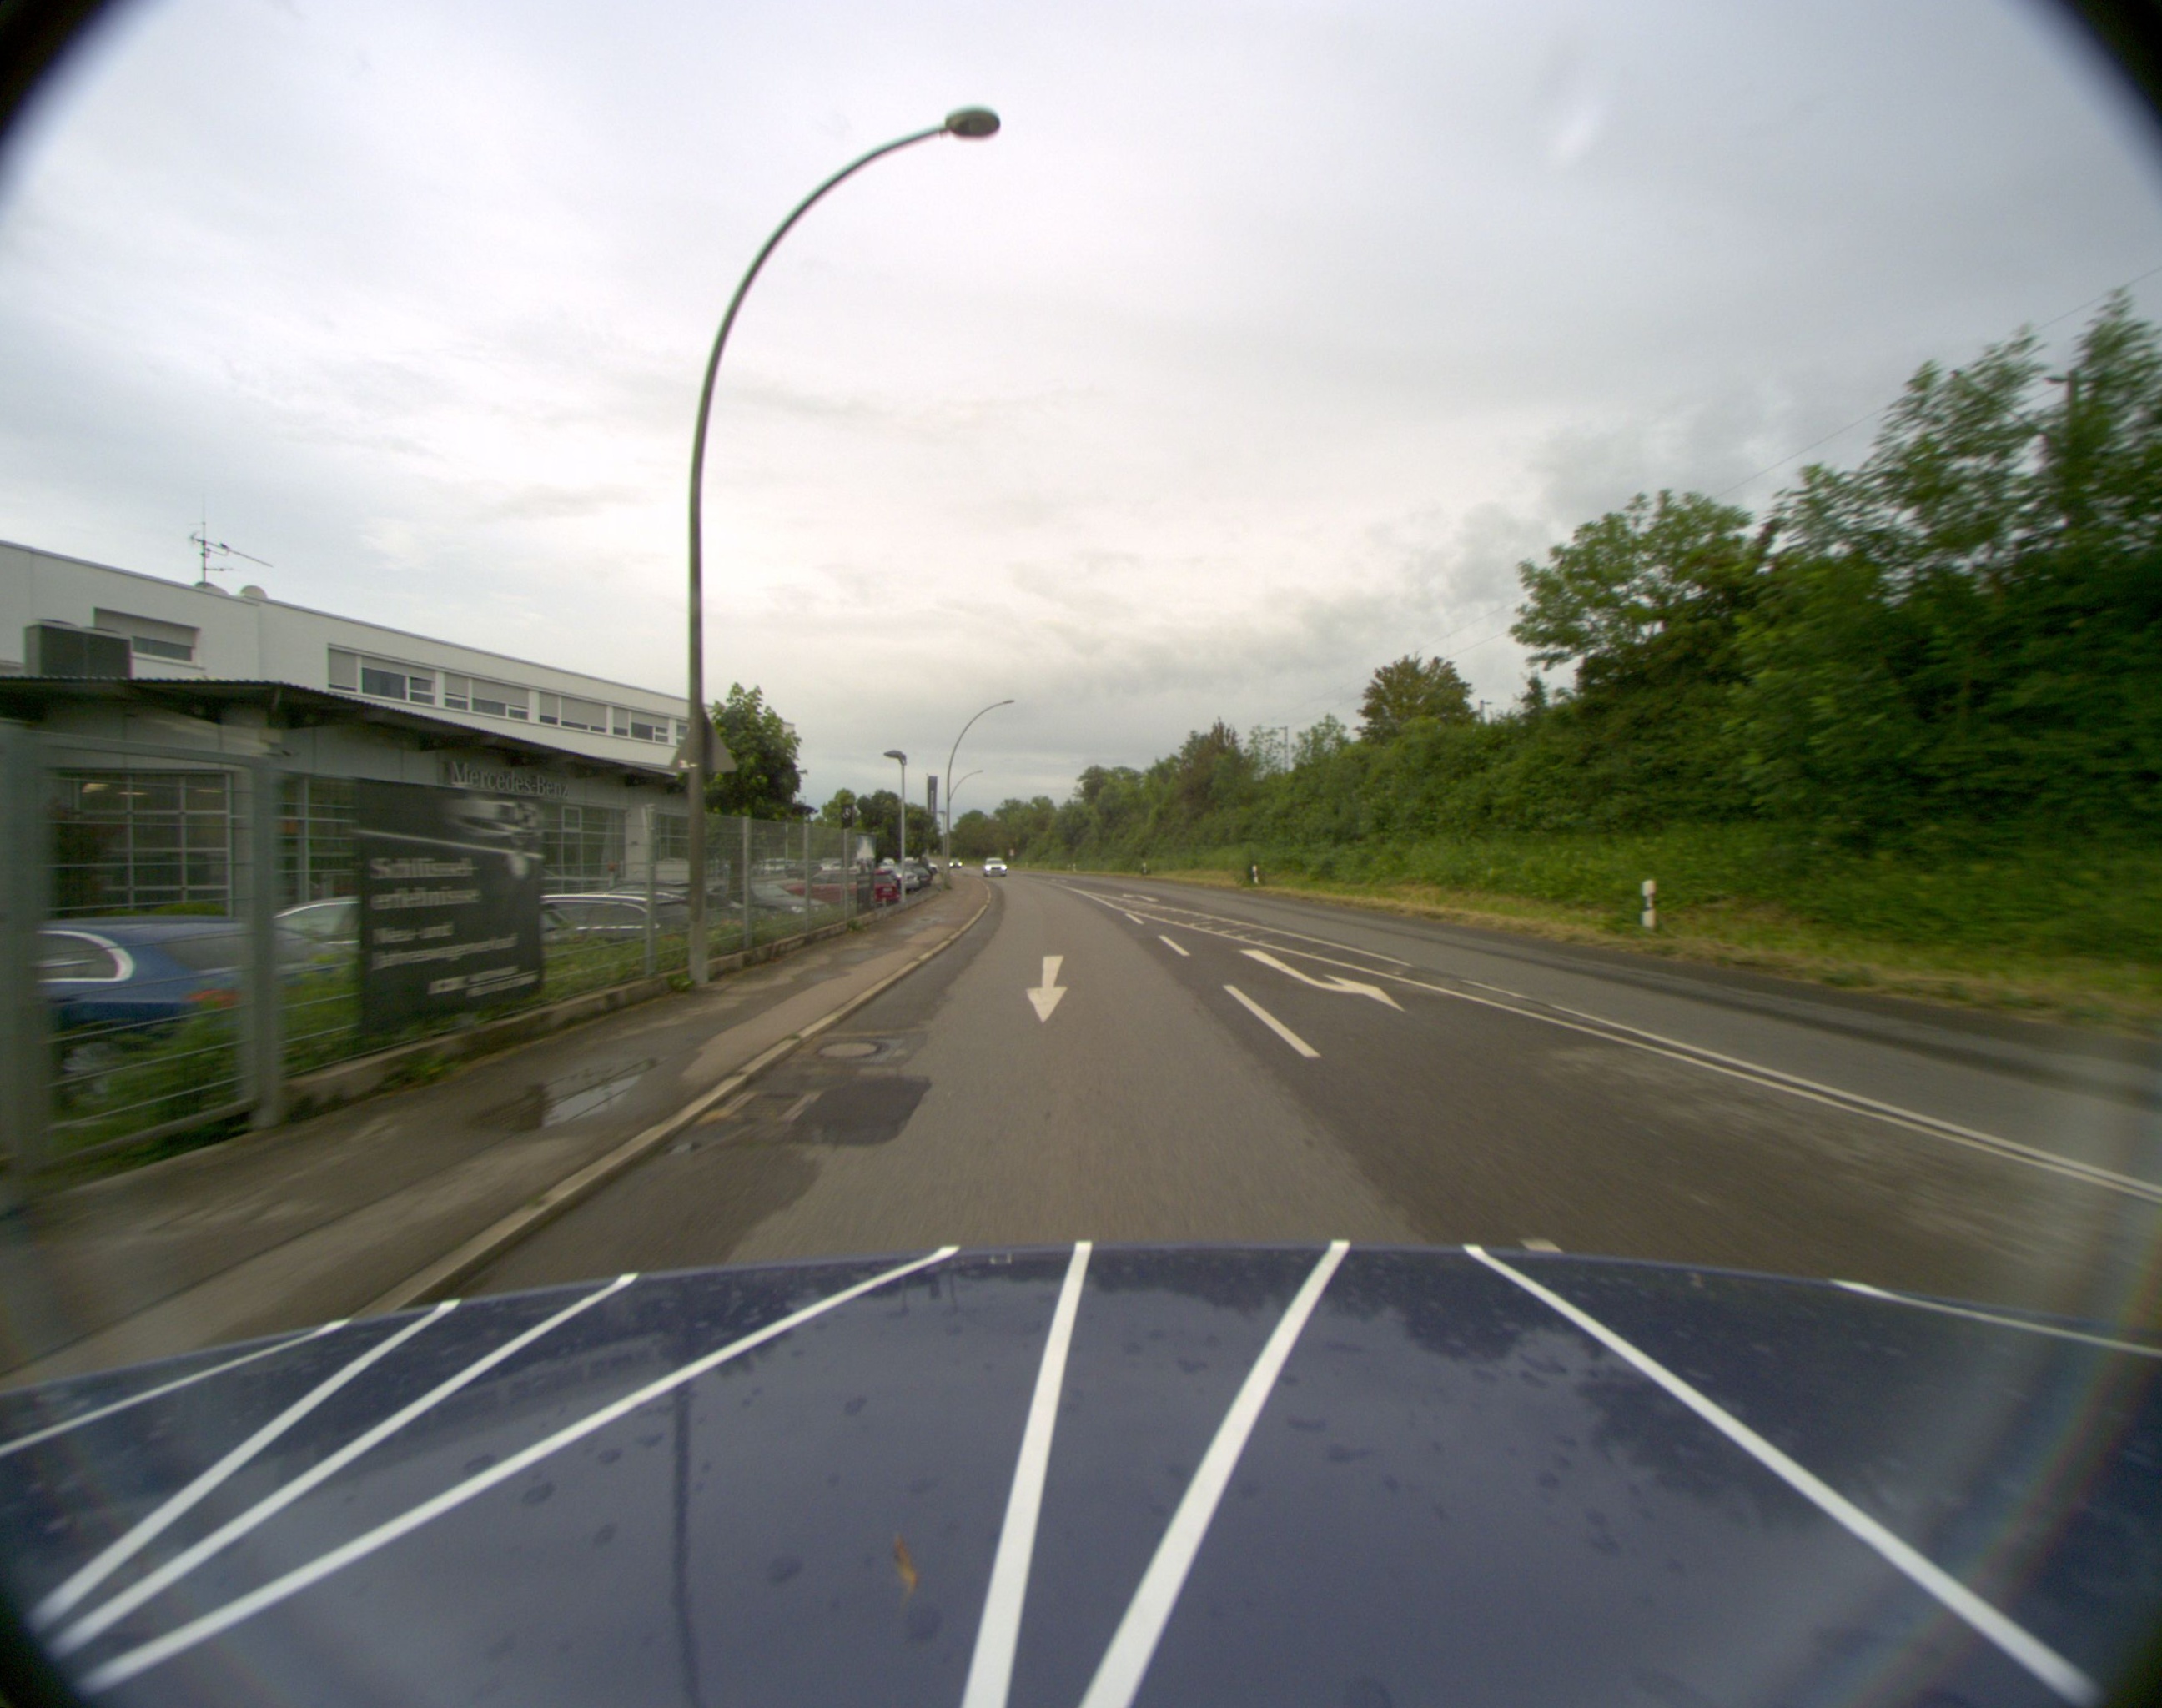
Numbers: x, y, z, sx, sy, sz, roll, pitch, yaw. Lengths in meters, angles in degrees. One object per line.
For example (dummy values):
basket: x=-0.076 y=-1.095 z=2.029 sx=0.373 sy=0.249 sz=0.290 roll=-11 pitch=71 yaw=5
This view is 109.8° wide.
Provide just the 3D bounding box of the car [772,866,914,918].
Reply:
car: x=-8.752 y=1.400 z=27.981 sx=4.687 sy=1.653 sz=2.002 roll=-2 pitch=2 yaw=21

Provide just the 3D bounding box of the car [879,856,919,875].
car: x=-16.701 y=1.025 z=69.814 sx=1.660 sy=1.590 sz=3.565 roll=1 pitch=1 yaw=26

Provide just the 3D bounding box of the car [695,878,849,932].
car: x=-9.201 y=1.458 z=22.650 sx=4.155 sy=1.432 sz=1.813 roll=-1 pitch=0 yaw=22

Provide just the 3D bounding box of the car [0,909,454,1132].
car: x=-8.343 y=1.366 z=6.638 sx=3.997 sy=1.396 sz=1.999 roll=-3 pitch=2 yaw=1

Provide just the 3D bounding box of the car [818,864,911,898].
car: x=-10.670 y=1.325 z=37.531 sx=3.960 sy=1.483 sz=1.978 roll=-2 pitch=2 yaw=21

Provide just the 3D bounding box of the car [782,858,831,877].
car: x=-22.716 y=1.107 z=62.874 sx=3.553 sy=1.469 sz=1.784 roll=1 pitch=0 yaw=27

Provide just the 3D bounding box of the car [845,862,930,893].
car: x=-10.316 y=1.218 z=40.408 sx=4.163 sy=1.459 sz=1.840 roll=1 pitch=1 yaw=26

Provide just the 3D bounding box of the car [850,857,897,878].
car: x=-17.352 y=1.105 z=63.761 sx=1.728 sy=1.590 sz=4.186 roll=1 pitch=0 yaw=20

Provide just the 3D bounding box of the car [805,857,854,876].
car: x=-22.089 y=1.089 z=66.931 sx=1.899 sy=1.536 sz=4.007 roll=-1 pitch=0 yaw=23

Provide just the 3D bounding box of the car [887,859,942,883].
car: x=-11.549 y=1.164 z=52.486 sx=1.846 sy=1.598 sz=4.537 roll=1 pitch=-1 yaw=-38

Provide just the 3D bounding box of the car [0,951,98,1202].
car: x=-8.390 y=1.370 z=4.030 sx=3.997 sy=1.426 sz=1.825 roll=-1 pitch=0 yaw=1

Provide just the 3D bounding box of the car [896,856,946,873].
car: x=-15.596 y=1.005 z=74.203 sx=1.921 sy=1.643 sz=4.437 roll=0 pitch=1 yaw=44

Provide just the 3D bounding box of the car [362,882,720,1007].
car: x=-7.799 y=1.267 z=11.312 sx=3.999 sy=1.400 sz=1.592 roll=-3 pitch=2 yaw=-6

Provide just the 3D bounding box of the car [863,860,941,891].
car: x=-10.119 y=1.239 z=42.926 sx=3.990 sy=1.547 sz=1.902 roll=-2 pitch=2 yaw=28
